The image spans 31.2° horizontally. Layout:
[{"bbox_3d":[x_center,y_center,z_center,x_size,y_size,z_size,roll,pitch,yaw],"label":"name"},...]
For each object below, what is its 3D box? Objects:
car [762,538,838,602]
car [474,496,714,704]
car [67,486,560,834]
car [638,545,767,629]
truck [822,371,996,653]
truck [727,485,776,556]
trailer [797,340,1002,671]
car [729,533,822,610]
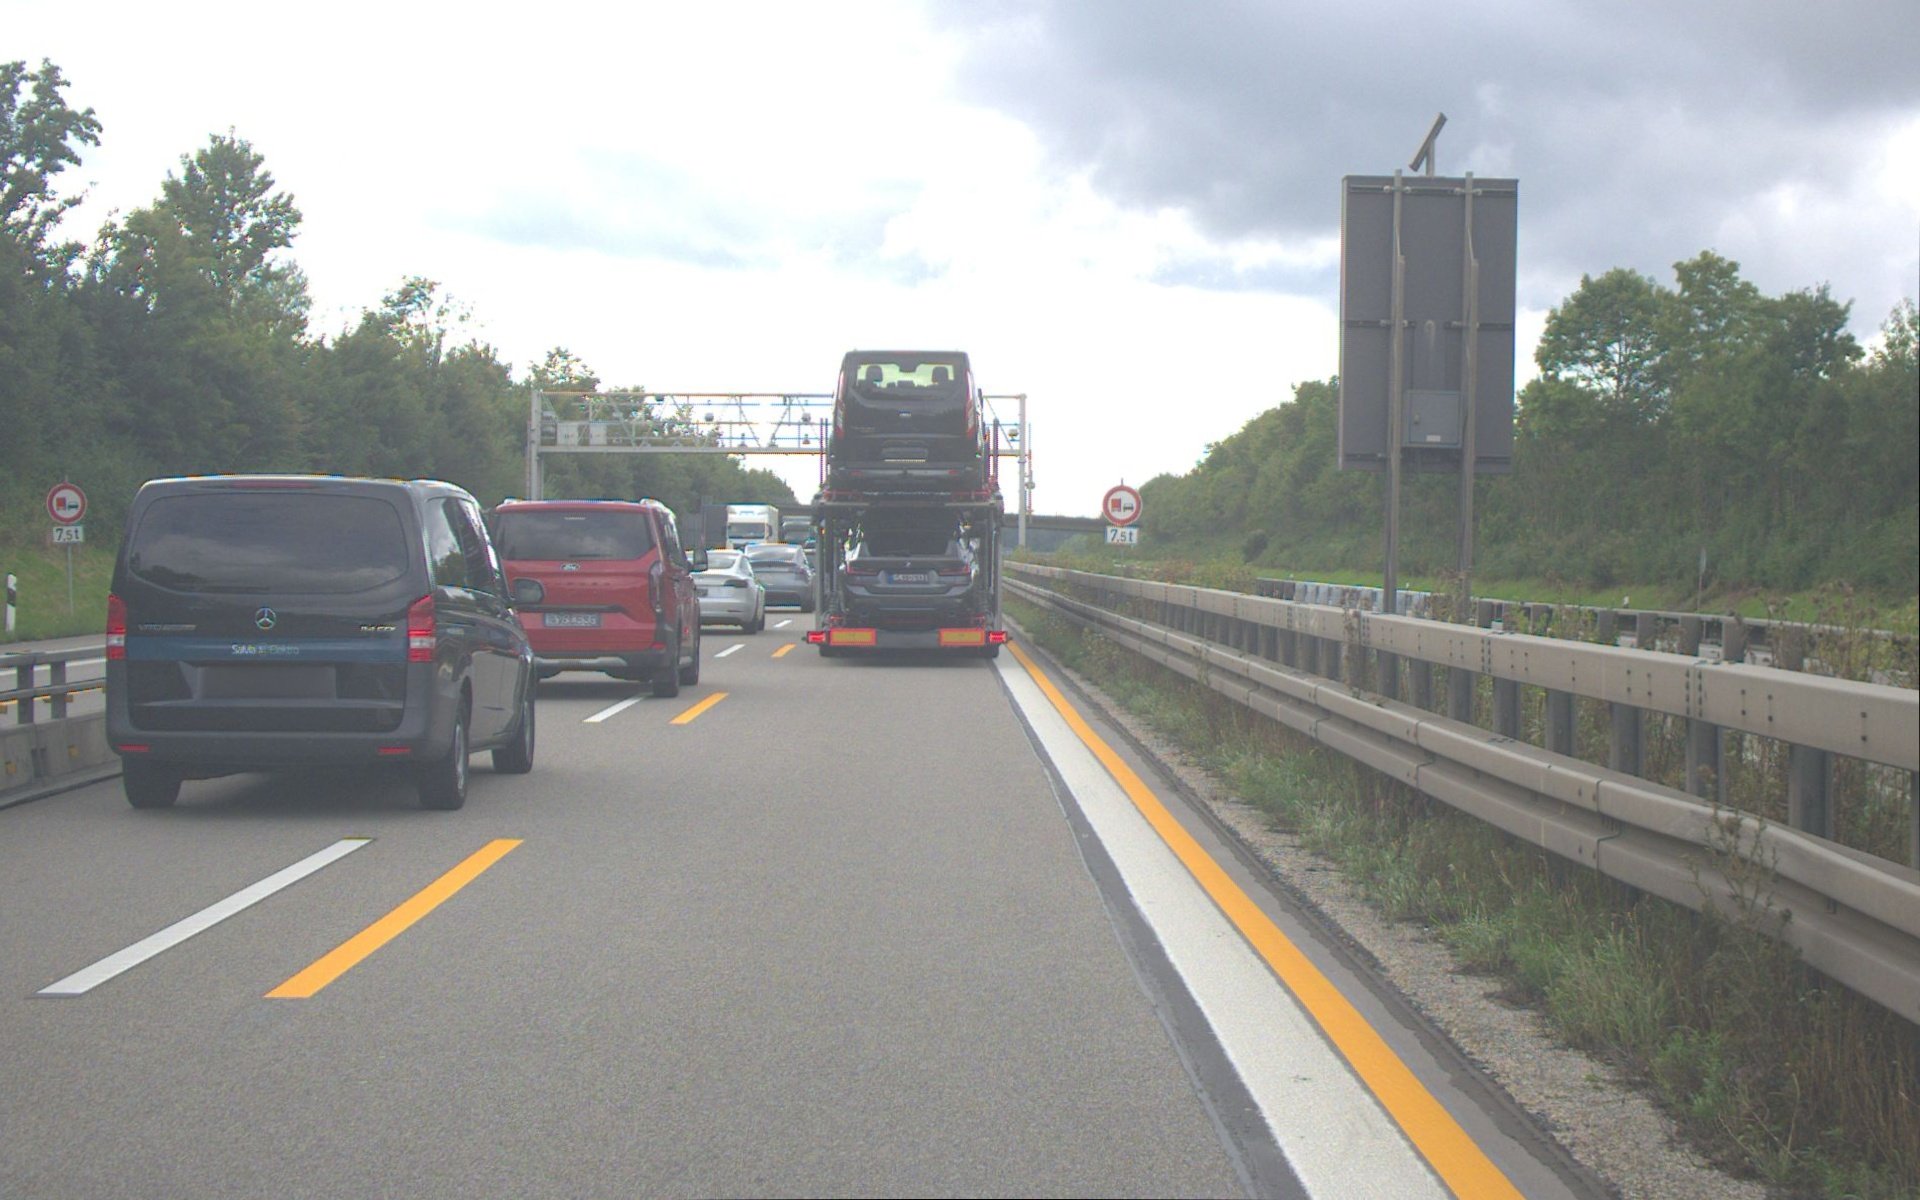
[{"bbox_3d":[-4.470,-0.865,96.425,2.031,1.751,4.578,0,1,-1],"label":"car"},{"bbox_3d":[-3.698,-0.037,35.498,2.031,2.007,4.578,0,1,0],"label":"car"},{"bbox_3d":[-3.751,0.270,21.017,1.993,1.837,5.610,0,1,0],"label":"car"},{"bbox_3d":[-4.513,-0.252,60.847,2.031,1.426,4.578,0,1,-1],"label":"car"},{"bbox_3d":[-0.739,-1.332,53.029,2.515,4.091,5.685,0,1,0],"label":"truck"},{"bbox_3d":[-12.314,-4.719,203.617,2.598,4.140,5.621,1,1,-1],"label":"truck"},{"bbox_3d":[-0.738,-1.257,48.283,2.515,4.091,11.114,0,1,0],"label":"trailer"},{"bbox_3d":[-4.296,-0.694,80.737,2.031,1.751,4.578,0,1,-1],"label":"car"}]
